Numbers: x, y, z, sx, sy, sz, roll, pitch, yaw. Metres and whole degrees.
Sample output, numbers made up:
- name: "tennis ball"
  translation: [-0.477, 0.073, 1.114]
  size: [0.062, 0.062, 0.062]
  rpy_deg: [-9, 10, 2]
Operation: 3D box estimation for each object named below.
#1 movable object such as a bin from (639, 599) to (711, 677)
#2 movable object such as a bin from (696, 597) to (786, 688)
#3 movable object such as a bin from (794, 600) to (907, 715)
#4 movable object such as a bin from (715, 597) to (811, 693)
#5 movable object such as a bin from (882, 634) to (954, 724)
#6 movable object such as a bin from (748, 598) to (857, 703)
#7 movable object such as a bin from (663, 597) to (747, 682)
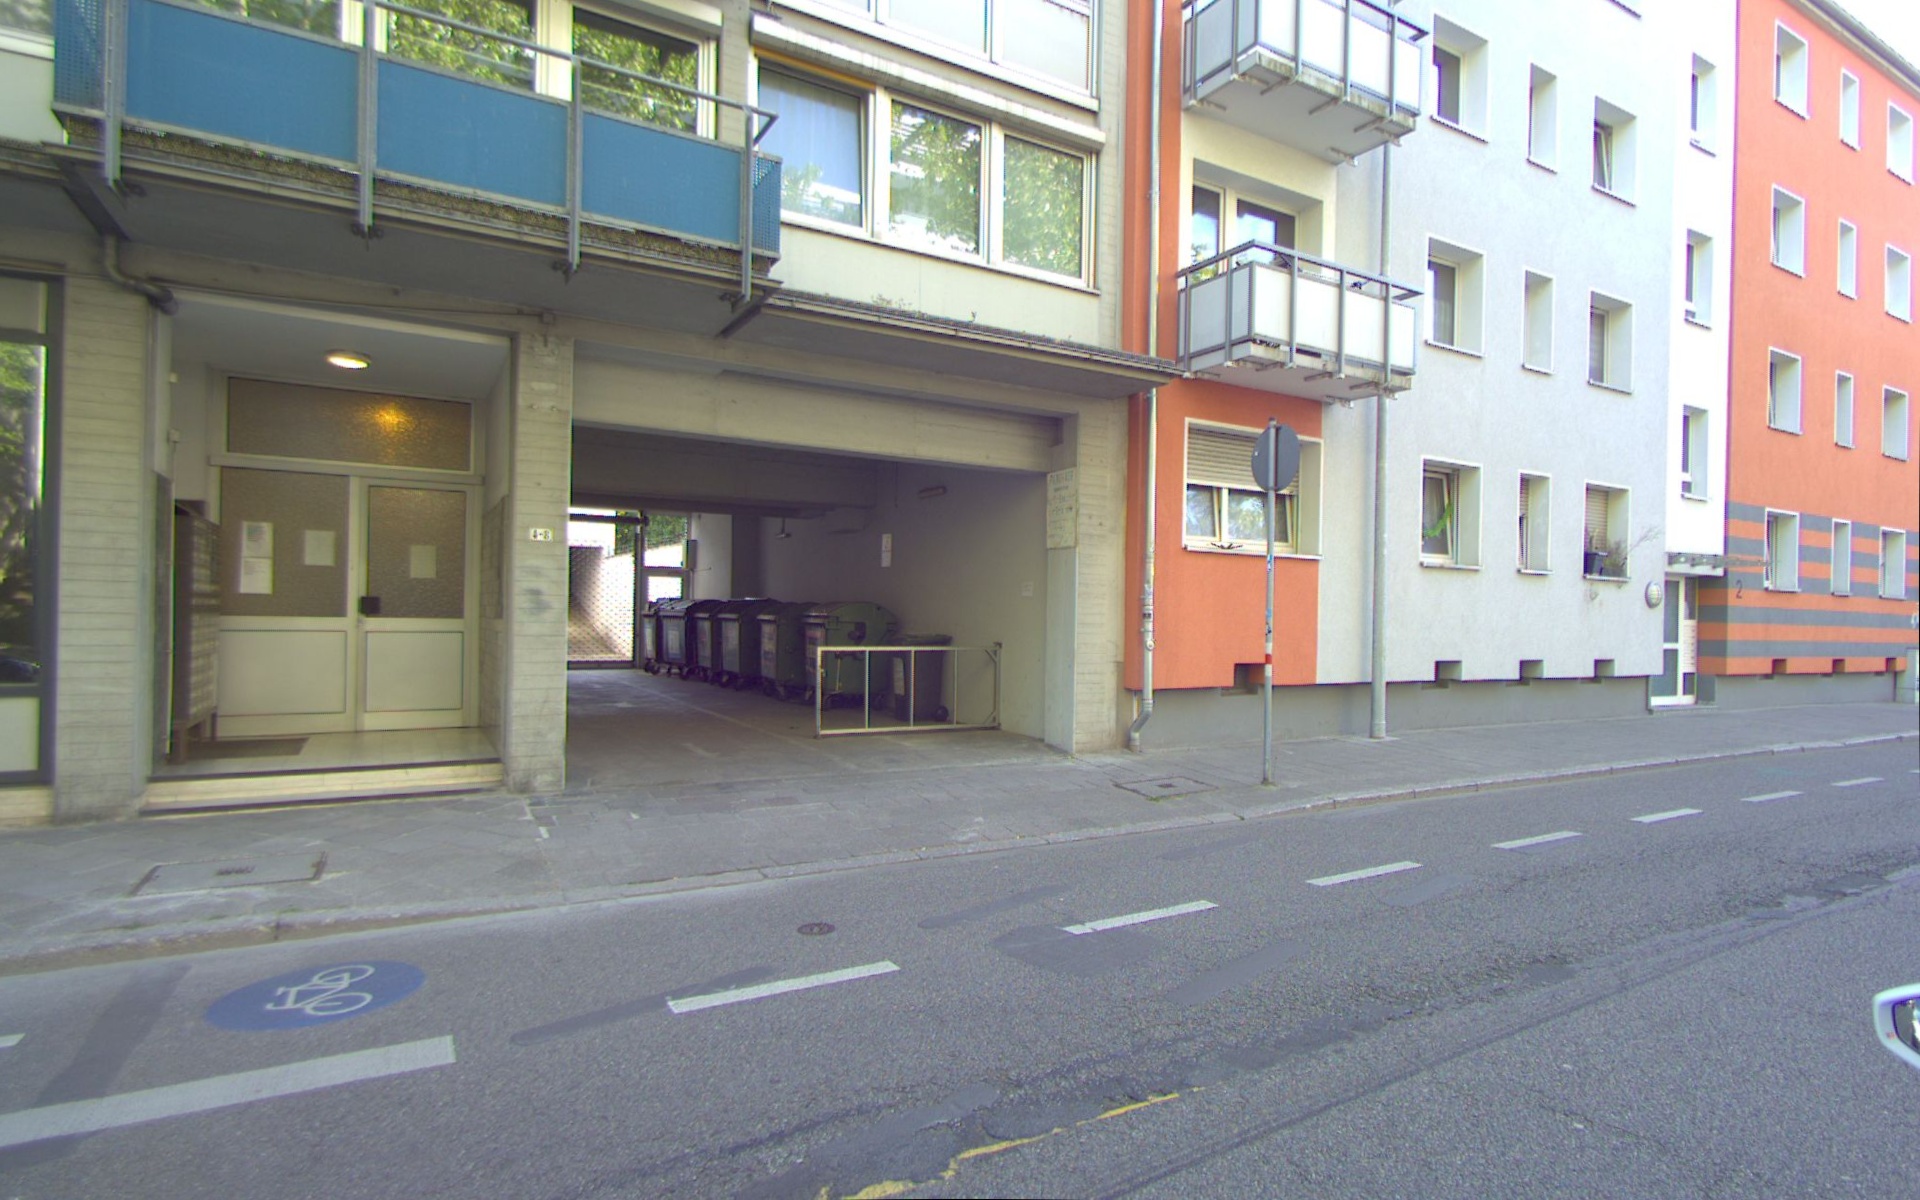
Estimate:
- name: "movable object such as a bin"
  translation: [-5.670, 0.736, 19.949]
  size: [1.128, 1.484, 1.129]
  rpy_deg: [2, 0, -28]
- name: "movable object such as a bin"
  translation: [-3.886, 0.732, 17.750]
  size: [1.264, 1.515, 1.155]
  rpy_deg: [2, 0, -28]
- name: "movable object such as a bin"
  translation: [-1.520, 0.758, 13.813]
  size: [1.128, 1.484, 1.255]
  rpy_deg: [2, 0, -28]
- name: "movable object such as a bin"
  translation: [-3.283, 0.730, 16.702]
  size: [1.264, 1.506, 1.155]
  rpy_deg: [2, 0, -28]
- name: "movable object such as a bin"
  translation: [-0.521, 0.963, 12.460]
  size: [0.694, 1.061, 0.567]
  rpy_deg: [2, 0, -28]
- name: "movable object such as a bin"
  translation: [-2.386, 0.738, 15.166]
  size: [1.264, 1.493, 1.265]
  rpy_deg: [2, -1, -28]
- name: "movable object such as a bin"
  translation: [-4.751, 0.725, 18.694]
  size: [1.264, 1.506, 1.155]
  rpy_deg: [2, 0, -28]
